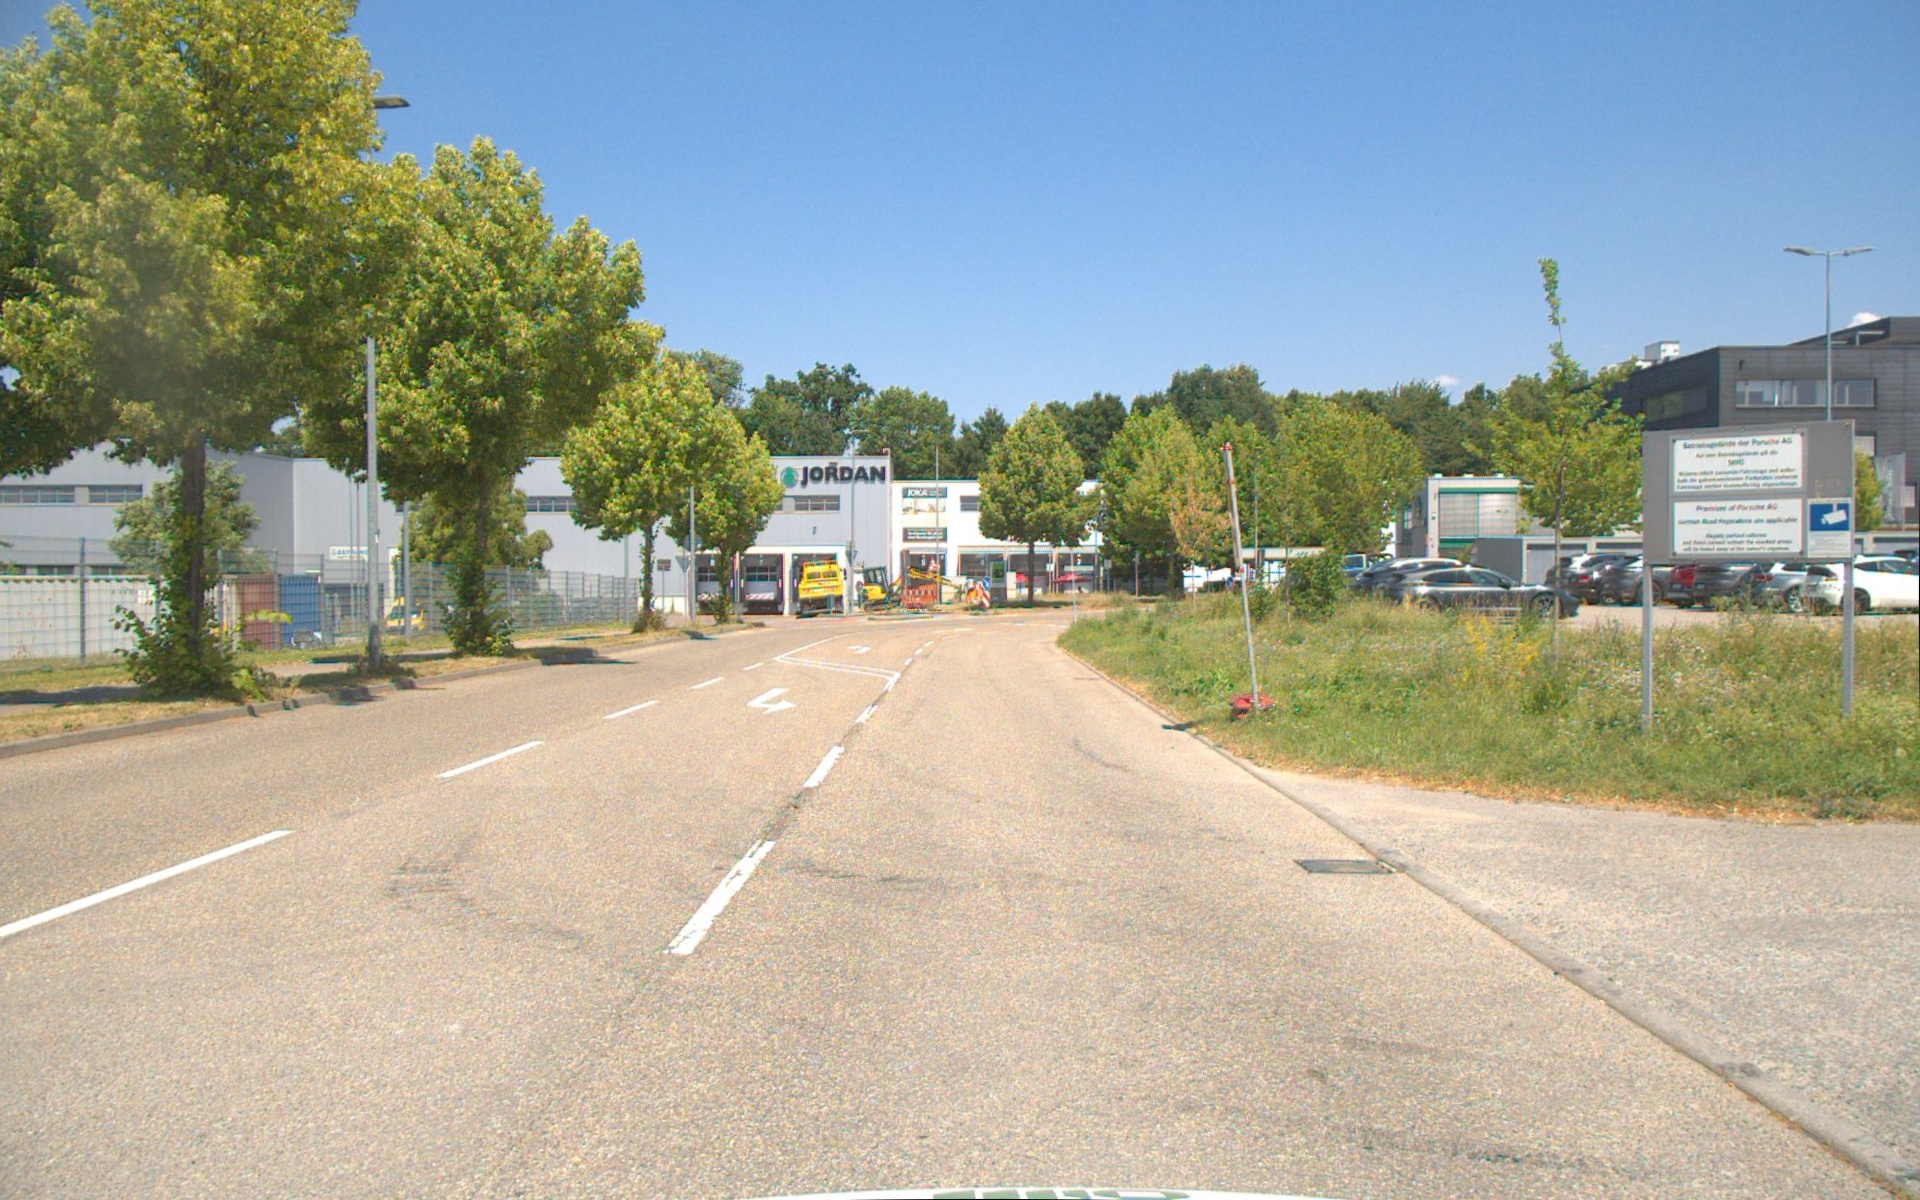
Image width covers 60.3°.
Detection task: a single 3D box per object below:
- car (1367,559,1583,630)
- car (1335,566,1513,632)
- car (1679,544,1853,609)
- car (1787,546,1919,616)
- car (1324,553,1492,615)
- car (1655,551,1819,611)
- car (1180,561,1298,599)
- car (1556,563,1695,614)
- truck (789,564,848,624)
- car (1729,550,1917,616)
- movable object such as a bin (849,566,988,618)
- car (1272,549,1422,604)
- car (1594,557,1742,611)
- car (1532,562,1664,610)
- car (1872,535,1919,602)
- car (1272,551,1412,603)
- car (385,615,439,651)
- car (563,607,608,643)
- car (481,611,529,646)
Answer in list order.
[{"bbox_3d":[12.270,-0.155,39.621,4.606,1.424,1.923,-2,4,2],"label":"car"},{"bbox_3d":[11.971,-0.042,42.806,4.080,1.424,1.768,-2,4,-4],"label":"car"},{"bbox_3d":[21.810,-0.664,44.840,3.908,1.515,1.768,-2,4,-4],"label":"car"},{"bbox_3d":[22.180,-0.485,39.579,3.907,1.424,1.769,-2,4,-2],"label":"car"},{"bbox_3d":[12.219,-0.447,45.248,4.080,1.424,1.768,-2,4,-4],"label":"car"},{"bbox_3d":[22.336,-0.572,47.617,3.908,1.486,1.768,-2,4,-4],"label":"car"},{"bbox_3d":[17.368,-1.255,103.075,7.022,2.124,2.001,-2,0,3],"label":"car"},{"bbox_3d":[22.052,-0.408,54.893,3.908,1.424,1.768,-2,4,-4],"label":"car"},{"bbox_3d":[-8.129,-0.392,94.336,2.884,2.935,5.800,-3,4,-8],"label":"truck"},{"bbox_3d":[21.915,-0.445,42.089,3.908,1.424,1.768,-2,4,-4],"label":"car"},{"bbox_3d":[-2.310,-0.457,94.811,7.365,2.542,3.671,-2,4,8],"label":"movable object such as a bin"},{"bbox_3d":[11.643,-0.729,49.881,4.080,1.424,1.768,-2,4,-4],"label":"car"},{"bbox_3d":[22.199,-0.517,51.953,3.908,1.424,1.768,-2,4,-4],"label":"car"},{"bbox_3d":[22.079,-0.497,57.293,3.908,1.424,1.768,-2,4,-4],"label":"car"},{"bbox_3d":[26.722,-0.907,44.064,3.908,1.623,1.768,-2,4,-4],"label":"car"},{"bbox_3d":[12.332,-0.772,53.501,4.080,1.424,1.768,-2,4,-4],"label":"car"},{"bbox_3d":[-30.403,1.804,91.860,1.956,1.578,3.996,-2,4,-7],"label":"car"},{"bbox_3d":[-21.018,1.384,92.925,1.956,1.578,3.996,-2,4,-7],"label":"car"},{"bbox_3d":[-25.473,1.564,92.707,1.956,1.578,3.996,-2,4,-7],"label":"car"}]
